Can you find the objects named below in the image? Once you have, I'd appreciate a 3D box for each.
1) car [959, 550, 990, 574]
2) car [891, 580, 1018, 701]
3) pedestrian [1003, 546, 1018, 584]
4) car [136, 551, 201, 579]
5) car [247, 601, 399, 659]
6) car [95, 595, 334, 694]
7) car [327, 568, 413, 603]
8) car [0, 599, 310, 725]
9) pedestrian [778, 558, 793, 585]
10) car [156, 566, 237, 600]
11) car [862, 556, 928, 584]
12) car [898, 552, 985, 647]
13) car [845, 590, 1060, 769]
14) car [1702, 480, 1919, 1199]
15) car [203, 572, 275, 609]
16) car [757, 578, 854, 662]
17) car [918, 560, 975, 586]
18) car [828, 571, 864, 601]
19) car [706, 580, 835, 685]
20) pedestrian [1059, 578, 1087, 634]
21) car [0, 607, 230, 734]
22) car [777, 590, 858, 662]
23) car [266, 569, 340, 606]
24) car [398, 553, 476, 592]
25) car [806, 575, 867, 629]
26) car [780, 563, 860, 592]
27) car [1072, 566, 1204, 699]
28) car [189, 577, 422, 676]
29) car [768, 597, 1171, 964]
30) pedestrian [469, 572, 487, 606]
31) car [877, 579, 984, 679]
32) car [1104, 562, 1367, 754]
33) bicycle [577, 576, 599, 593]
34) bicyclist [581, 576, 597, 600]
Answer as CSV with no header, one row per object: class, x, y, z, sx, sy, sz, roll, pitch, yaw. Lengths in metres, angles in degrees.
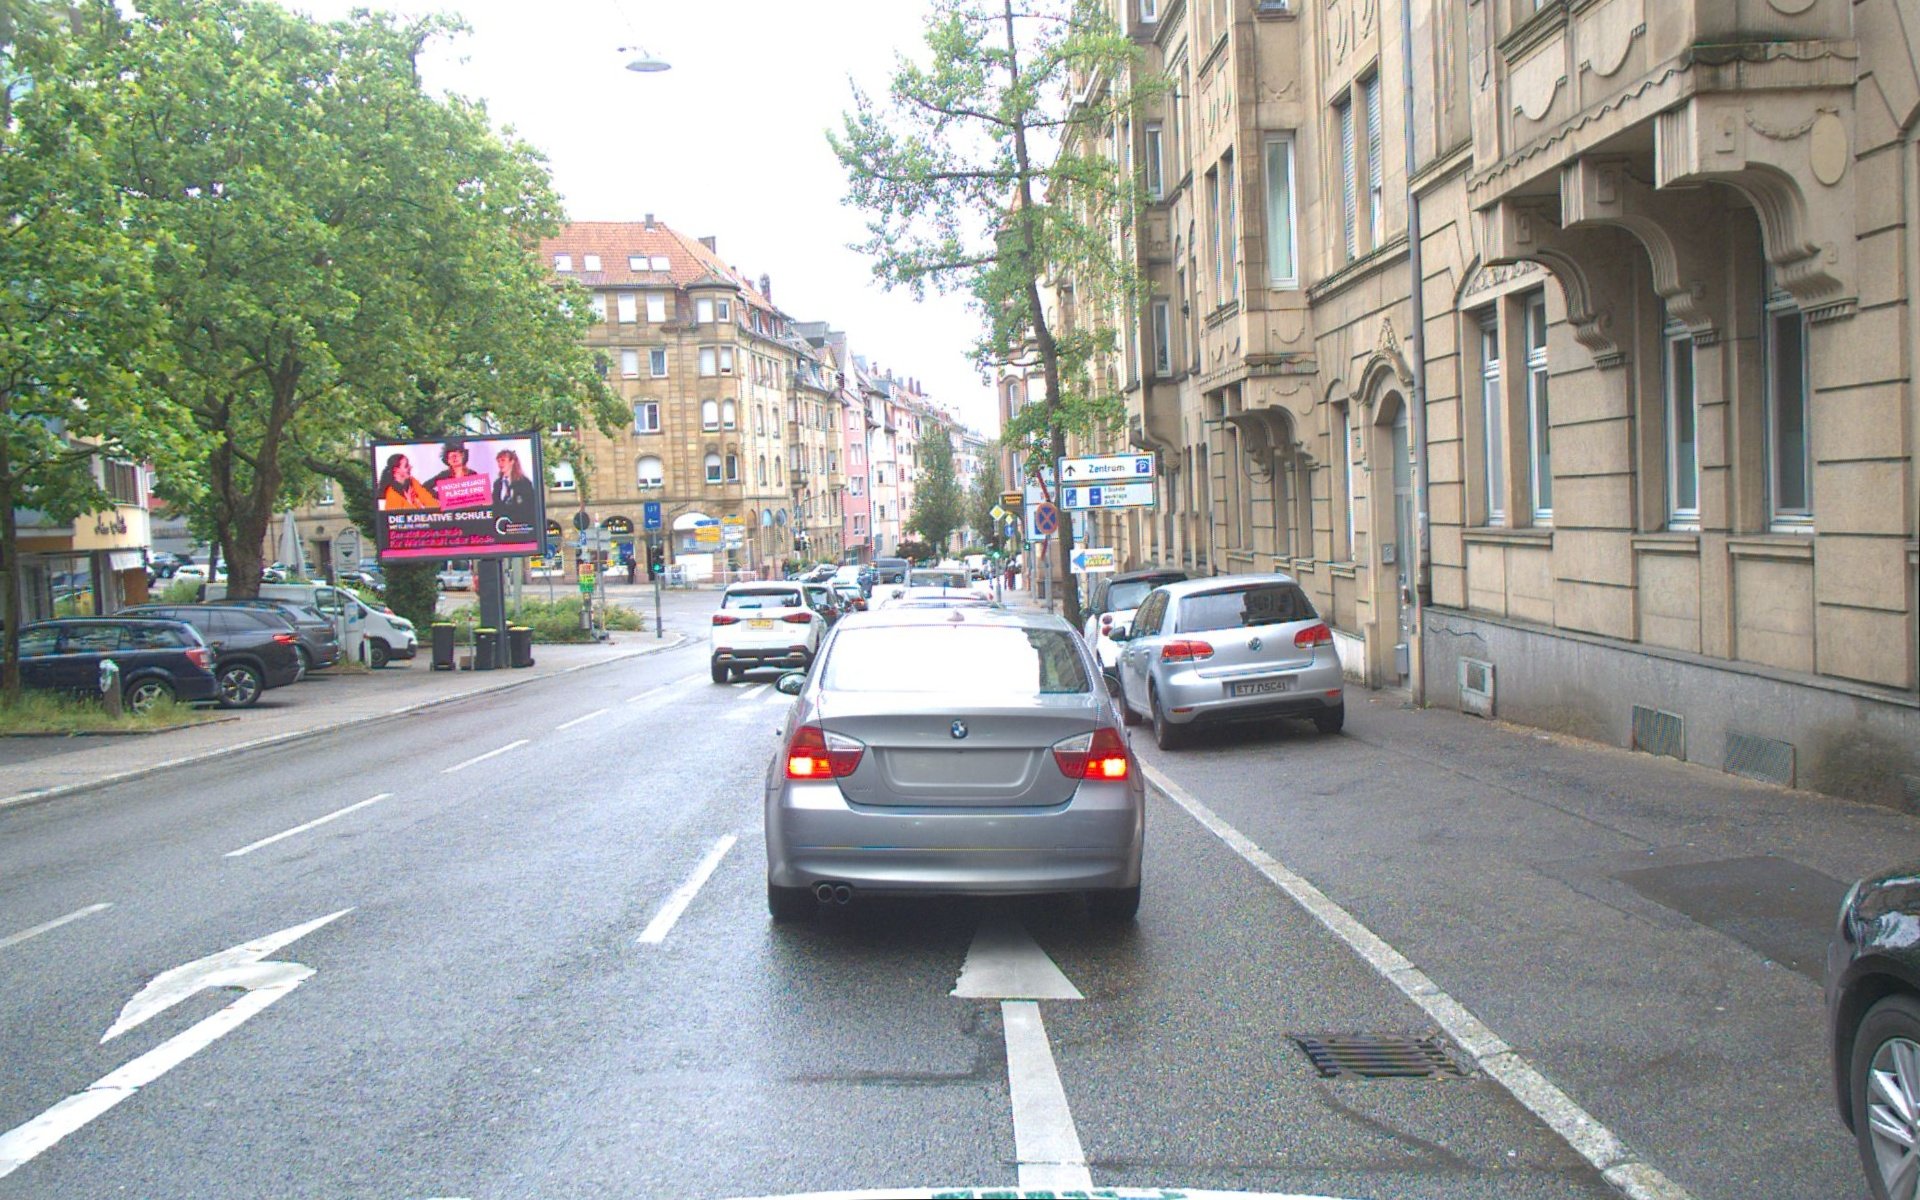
car,1.092,-2.756,120.225,1.951,1.606,4.002,1,0,5
car,-0.052,0.482,22.566,1.562,1.490,4.000,1,1,0
pedestrian,2.622,-1.798,85.784,0.727,1.943,0.659,-2,0,-2
car,-51.221,-2.268,107.070,3.909,1.718,1.726,1,0,27
car,-17.973,0.819,46.742,3.916,1.476,1.757,-2,0,-22
car,-15.128,0.861,33.827,4.295,1.815,1.927,-2,0,-22
car,-30.665,-0.766,85.972,4.157,1.756,1.997,1,2,30
car,-12.848,0.945,26.658,4.308,1.701,1.842,-3,1,-24
pedestrian,-10.647,-1.731,100.960,0.716,1.605,0.528,-1,0,8
car,-42.728,-0.952,92.567,4.155,1.756,1.998,0,3,29
car,-5.058,-2.335,129.782,5.072,2.049,2.698,1,0,-1
car,-0.443,-0.020,39.164,1.953,2.143,3.999,0,0,-1
car,-0.047,0.634,15.377,1.723,1.407,4.000,-1,1,0
car,2.732,0.532,1.950,1.724,1.679,4.098,-6,1,0
car,-45.443,-0.609,104.290,4.196,2.138,1.998,2,2,28
car,-3.327,0.392,36.293,1.723,1.737,4.000,-1,1,0
car,-0.884,-1.797,108.954,1.957,1.606,3.991,1,0,31
car,-5.982,-0.732,86.926,1.680,1.476,3.741,-2,0,-1
car,-3.192,0.499,28.528,1.830,1.654,3.999,-1,0,-1
pedestrian,3.231,0.165,47.388,0.618,1.534,0.693,-6,0,-2
car,-12.977,1.014,23.934,4.299,1.601,1.929,-3,1,-24
car,-3.670,0.641,43.194,1.723,1.737,4.000,-1,1,0
car,-40.430,-0.795,101.740,4.196,2.138,1.998,2,2,28
car,-30.395,-1.618,96.154,4.196,2.138,1.998,2,2,28
car,-4.110,0.032,55.594,1.723,1.737,4.000,-1,1,0
car,-8.339,-1.332,98.615,1.967,1.606,4.621,1,0,45
car,2.377,0.396,22.614,1.273,1.569,2.975,-6,1,-1
car,-15.469,0.591,39.297,4.989,2.142,1.979,-2,0,-22
car,0.050,0.713,8.379,1.590,1.407,3.615,-1,1,0
pedestrian,-23.424,-0.552,80.367,0.525,1.604,0.720,-3,0,12
car,-0.467,0.448,28.729,1.723,1.594,4.000,-1,1,0
car,2.568,0.483,16.355,1.725,1.476,3.999,-6,1,-1
bicycle,-19.904,-0.812,88.624,0.561,0.873,1.523,1,0,12
bicyclist,-19.901,-0.645,88.747,0.556,1.295,0.690,1,-1,11
